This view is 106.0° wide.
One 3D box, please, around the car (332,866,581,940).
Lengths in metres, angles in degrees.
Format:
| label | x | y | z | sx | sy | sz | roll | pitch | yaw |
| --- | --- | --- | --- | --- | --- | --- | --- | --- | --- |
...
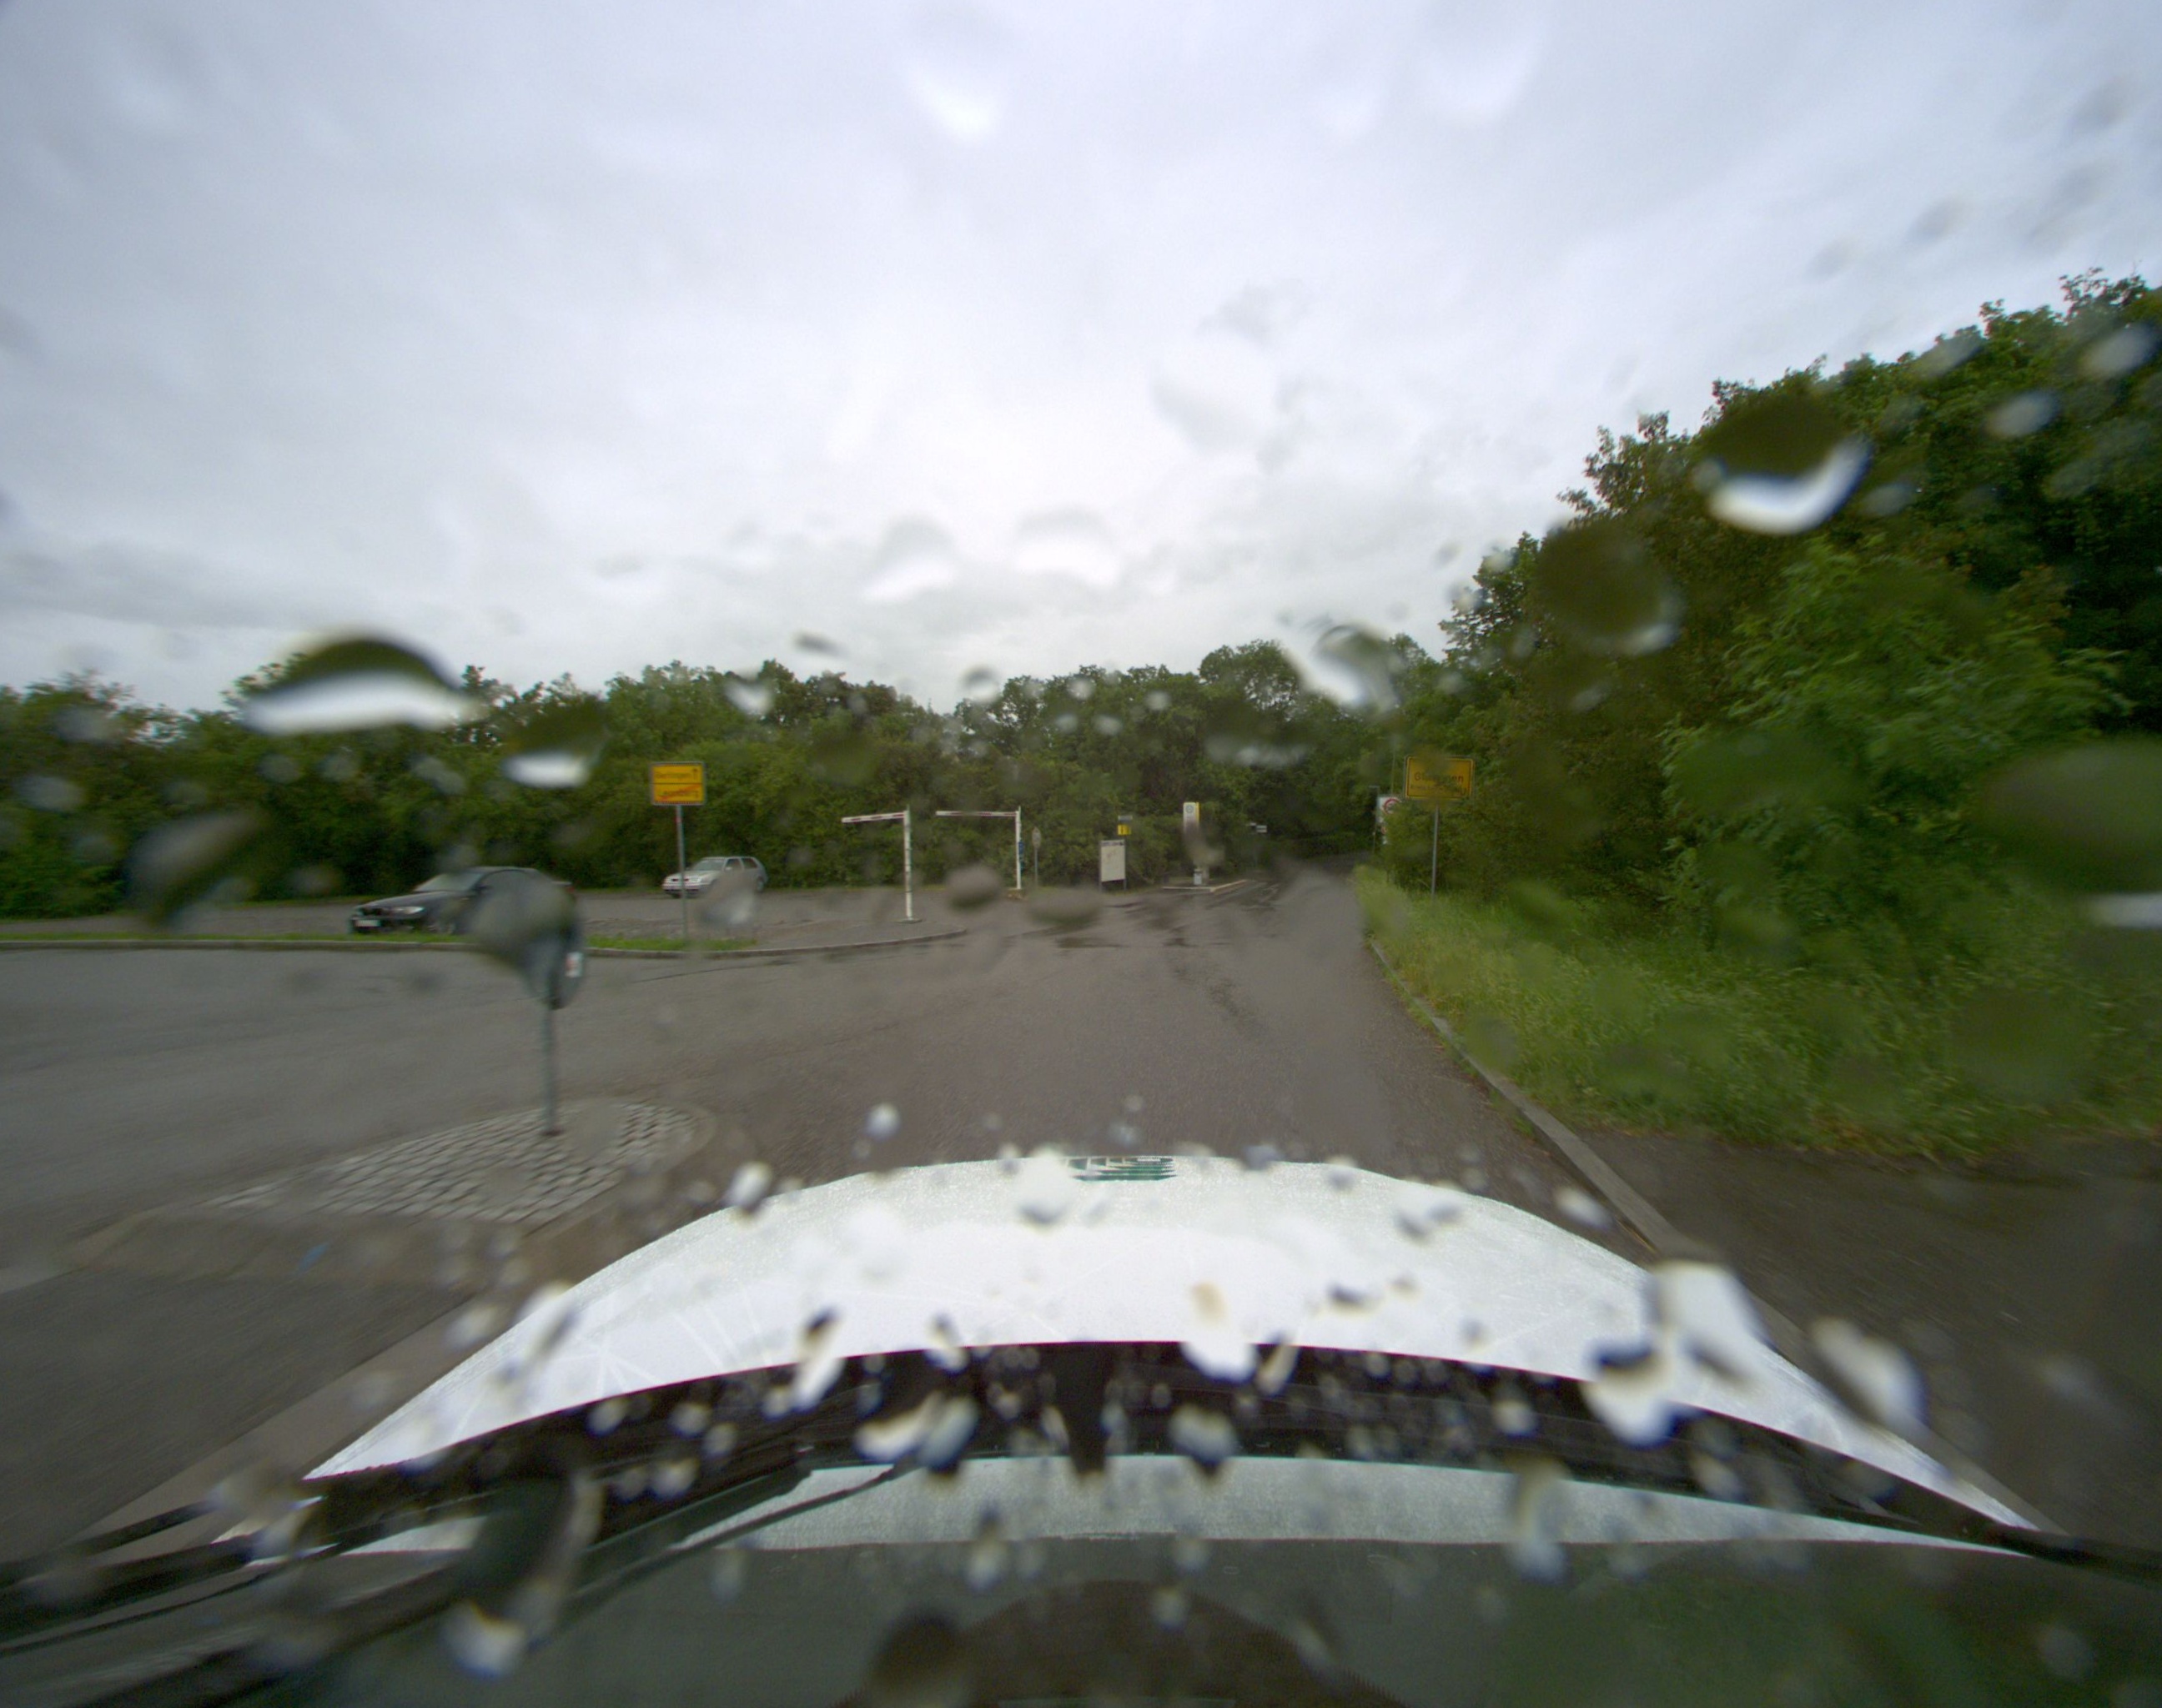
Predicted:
| label | x | y | z | sx | sy | sz | roll | pitch | yaw |
| --- | --- | --- | --- | --- | --- | --- | --- | --- | --- |
| car | -13.122 | 0.961 | 17.489 | 1.610 | 1.355 | 4.203 | -1 | -1 | 11 |

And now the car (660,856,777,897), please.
| label | x | y | z | sx | sy | sz | roll | pitch | yaw |
| --- | --- | --- | --- | --- | --- | --- | --- | --- | --- |
| car | -12.877 | 0.766 | 29.223 | 1.590 | 1.355 | 4.138 | -1 | -1 | 14 |
